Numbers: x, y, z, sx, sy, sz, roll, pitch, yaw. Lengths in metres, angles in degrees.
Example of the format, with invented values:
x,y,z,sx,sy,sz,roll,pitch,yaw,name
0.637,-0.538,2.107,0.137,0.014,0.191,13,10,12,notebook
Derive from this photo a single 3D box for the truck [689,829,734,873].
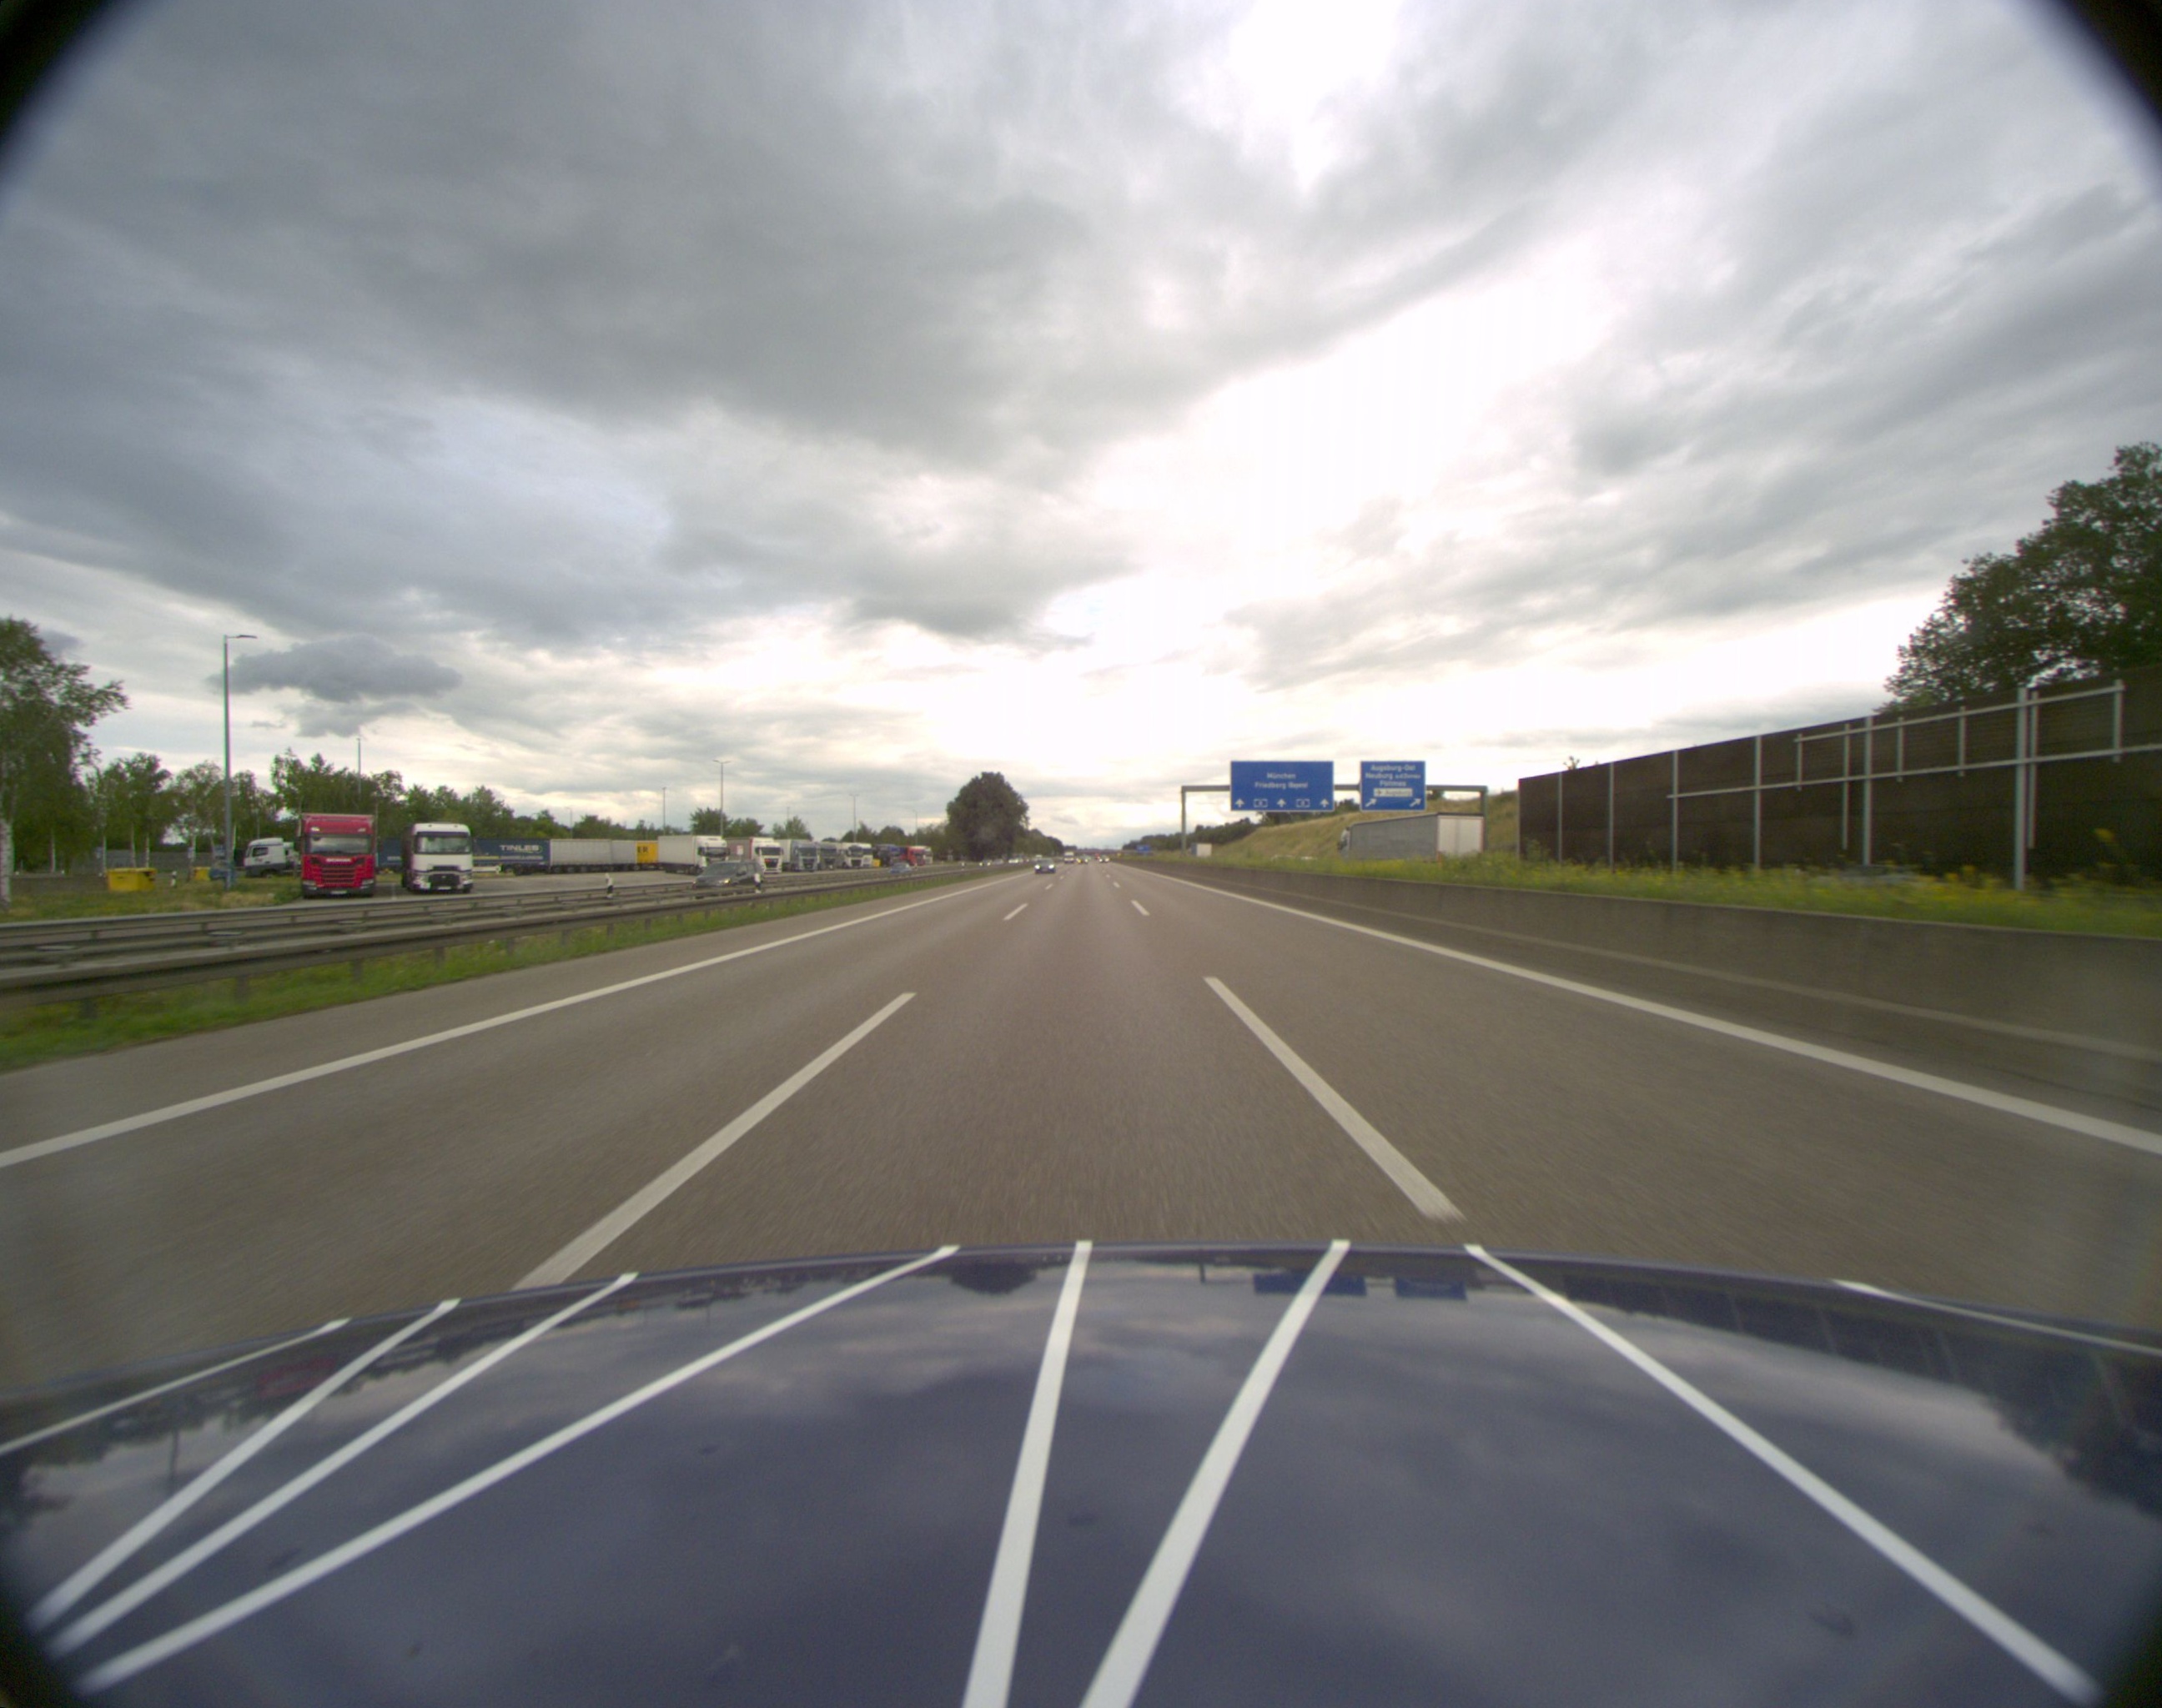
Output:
x,y,z,sx,sy,sz,roll,pitch,yaw,name
-36.224,-0.282,74.458,2.619,4.111,4.521,-3,1,-43,truck

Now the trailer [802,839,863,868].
x,y,z,sx,sy,sz,roll,pitch,yaw,name
-39.695,0.030,120.803,2.860,4.081,15.848,-3,1,-42,trailer

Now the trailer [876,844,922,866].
x,y,z,sx,sy,sz,roll,pitch,yaw,name
-38.821,0.258,161.452,2.668,4.089,14.031,-3,1,-43,trailer

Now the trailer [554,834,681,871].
x,y,z,sx,sy,sz,roll,pitch,yaw,name
-64.498,-0.323,106.326,14.683,4.615,3.151,-3,1,-45,trailer

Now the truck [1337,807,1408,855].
x,y,z,sx,sy,sz,roll,pitch,yaw,name
20.993,-1.598,55.077,2.831,3.208,5.980,-1,0,1,truck

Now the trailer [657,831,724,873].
x,y,z,sx,sy,sz,roll,pitch,yaw,name
-41.362,-0.101,80.040,2.618,4.051,13.507,-3,1,-43,trailer

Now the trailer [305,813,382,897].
x,y,z,sx,sy,sz,roll,pitch,yaw,name
-41.678,0.087,43.213,2.602,4.201,11.079,-3,2,-42,trailer

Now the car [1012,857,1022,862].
x,y,z,sx,sy,sz,roll,pitch,yaw,name
-14.496,1.273,173.086,1.828,1.236,3.878,-1,0,1,car

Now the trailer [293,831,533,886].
x,y,z,sx,sy,sz,roll,pitch,yaw,name
-61.635,0.234,71.049,2.628,4.363,16.537,-2,1,43,trailer

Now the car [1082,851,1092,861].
x,y,z,sx,sy,sz,roll,pitch,yaw,name
1.210,0.393,155.790,1.998,2.002,4.000,0,0,1,car

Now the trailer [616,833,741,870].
x,y,z,sx,sy,sz,roll,pitch,yaw,name
-55.869,-0.493,106.141,15.079,4.615,2.866,-3,1,-45,trailer

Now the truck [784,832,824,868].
x,y,z,sx,sy,sz,roll,pitch,yaw,name
-34.213,-0.483,93.779,2.646,4.107,4.782,-3,1,-45,truck

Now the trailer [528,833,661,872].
x,y,z,sx,sy,sz,roll,pitch,yaw,name
-56.767,-0.090,89.185,2.623,4.256,12.906,-2,-1,44,trailer

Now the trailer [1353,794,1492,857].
x,y,z,sx,sy,sz,roll,pitch,yaw,name
20.880,-1.559,47.870,2.827,3.357,13.509,-1,0,1,trailer

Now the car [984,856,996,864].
x,y,z,sx,sy,sz,roll,pitch,yaw,name
-15.261,0.996,127.646,1.465,1.208,4.000,-1,0,1,car

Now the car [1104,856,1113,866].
x,y,z,sx,sy,sz,roll,pitch,yaw,name
6.295,1.588,173.410,1.998,2.002,4.000,0,0,1,car

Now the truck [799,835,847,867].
x,y,z,sx,sy,sz,roll,pitch,yaw,name
-36.390,-0.377,106.983,3.554,4.061,7.635,-3,1,-42,truck

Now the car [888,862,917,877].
x,y,z,sx,sy,sz,roll,pitch,yaw,name
-16.652,1.451,71.112,1.796,1.251,3.545,-3,1,1,car

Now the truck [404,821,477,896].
x,y,z,sx,sy,sz,roll,pitch,yaw,name
-35.585,0.218,42.135,2.762,3.827,6.375,-1,1,-43,truck

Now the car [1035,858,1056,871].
x,y,z,sx,sy,sz,roll,pitch,yaw,name
-3.394,1.021,73.992,1.781,1.180,4.000,-1,0,1,car

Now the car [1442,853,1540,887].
x,y,z,sx,sy,sz,roll,pitch,yaw,name
16.376,0.602,30.564,1.710,1.250,3.999,-1,0,-1,car

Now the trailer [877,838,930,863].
x,y,z,sx,sy,sz,roll,pitch,yaw,name
-36.161,-0.635,153.844,2.869,4.651,15.768,-3,1,-43,trailer

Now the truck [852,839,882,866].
x,y,z,sx,sy,sz,roll,pitch,yaw,name
-34.036,-0.197,120.613,2.701,4.032,4.785,-3,1,-40,truck

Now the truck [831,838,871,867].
x,y,z,sx,sy,sz,roll,pitch,yaw,name
-35.044,-0.181,115.547,2.891,4.110,6.953,-3,1,-42,truck

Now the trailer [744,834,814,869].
x,y,z,sx,sy,sz,roll,pitch,yaw,name
-39.686,-0.209,99.285,14.656,4.061,2.663,-2,1,45,trailer

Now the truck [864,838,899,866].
x,y,z,sx,sy,sz,roll,pitch,yaw,name
-34.414,-0.342,131.141,3.174,4.531,6.070,-3,1,-43,truck

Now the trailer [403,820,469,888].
x,y,z,sx,sy,sz,roll,pitch,yaw,name
-41.465,0.036,48.636,2.753,3.819,13.171,-1,0,-42,trailer

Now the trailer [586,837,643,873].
x,y,z,sx,sy,sz,roll,pitch,yaw,name
-57.446,0.051,93.654,1.994,4.270,5.648,0,1,43,trailer

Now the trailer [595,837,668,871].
x,y,z,sx,sy,sz,roll,pitch,yaw,name
-58.103,-0.058,98.449,1.994,4.270,7.755,0,1,43,trailer

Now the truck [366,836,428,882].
x,y,z,sx,sy,sz,roll,pitch,yaw,name
-65.404,0.474,72.651,4.131,4.134,2.938,-3,1,-45,truck

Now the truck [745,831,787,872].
x,y,z,sx,sy,sz,roll,pitch,yaw,name
-34.876,-0.285,84.083,2.516,4.302,4.892,-3,1,-44,truck

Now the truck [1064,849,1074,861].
x,y,z,sx,sy,sz,roll,pitch,yaw,name
-2.597,0.143,170.580,1.998,2.482,5.869,-3,1,1,truck

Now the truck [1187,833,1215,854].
x,y,z,sx,sy,sz,roll,pitch,yaw,name
21.727,-1.875,138.306,3.267,3.582,10.934,-1,0,0,truck

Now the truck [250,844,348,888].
x,y,z,sx,sy,sz,roll,pitch,yaw,name
-67.039,1.015,65.272,2.651,3.419,5.642,-2,1,43,truck

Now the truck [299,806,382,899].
x,y,z,sx,sy,sz,roll,pitch,yaw,name
-36.652,-0.042,37.754,2.597,4.229,5.678,-3,1,-43,truck

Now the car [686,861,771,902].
x,y,z,sx,sy,sz,roll,pitch,yaw,name
-16.548,1.247,35.948,1.832,1.746,4.594,-1,0,1,car

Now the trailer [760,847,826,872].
x,y,z,sx,sy,sz,roll,pitch,yaw,name
-40.057,0.872,105.368,3.602,3.093,13.711,-3,1,-42,trailer

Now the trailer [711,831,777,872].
x,y,z,sx,sy,sz,roll,pitch,yaw,name
-39.767,-0.198,89.275,2.482,4.370,14.105,-3,1,-43,trailer

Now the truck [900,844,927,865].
x,y,z,sx,sy,sz,roll,pitch,yaw,name
-34.547,0.092,156.775,2.674,4.124,5.915,-3,1,-42,truck

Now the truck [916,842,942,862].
x,y,z,sx,sy,sz,roll,pitch,yaw,name
-34.027,-0.416,169.804,2.831,4.037,6.433,-3,1,-38,truck

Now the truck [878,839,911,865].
x,y,z,sx,sy,sz,roll,pitch,yaw,name
-33.573,-0.359,136.643,3.066,4.531,6.070,-3,1,-43,truck

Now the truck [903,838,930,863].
x,y,z,sx,sy,sz,roll,pitch,yaw,name
-32.475,-0.727,149.856,2.883,4.597,5.158,-3,1,-43,truck

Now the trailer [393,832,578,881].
x,y,z,sx,sy,sz,roll,pitch,yaw,name
-60.364,0.130,77.648,14.424,4.363,2.945,-3,1,-45,trailer
